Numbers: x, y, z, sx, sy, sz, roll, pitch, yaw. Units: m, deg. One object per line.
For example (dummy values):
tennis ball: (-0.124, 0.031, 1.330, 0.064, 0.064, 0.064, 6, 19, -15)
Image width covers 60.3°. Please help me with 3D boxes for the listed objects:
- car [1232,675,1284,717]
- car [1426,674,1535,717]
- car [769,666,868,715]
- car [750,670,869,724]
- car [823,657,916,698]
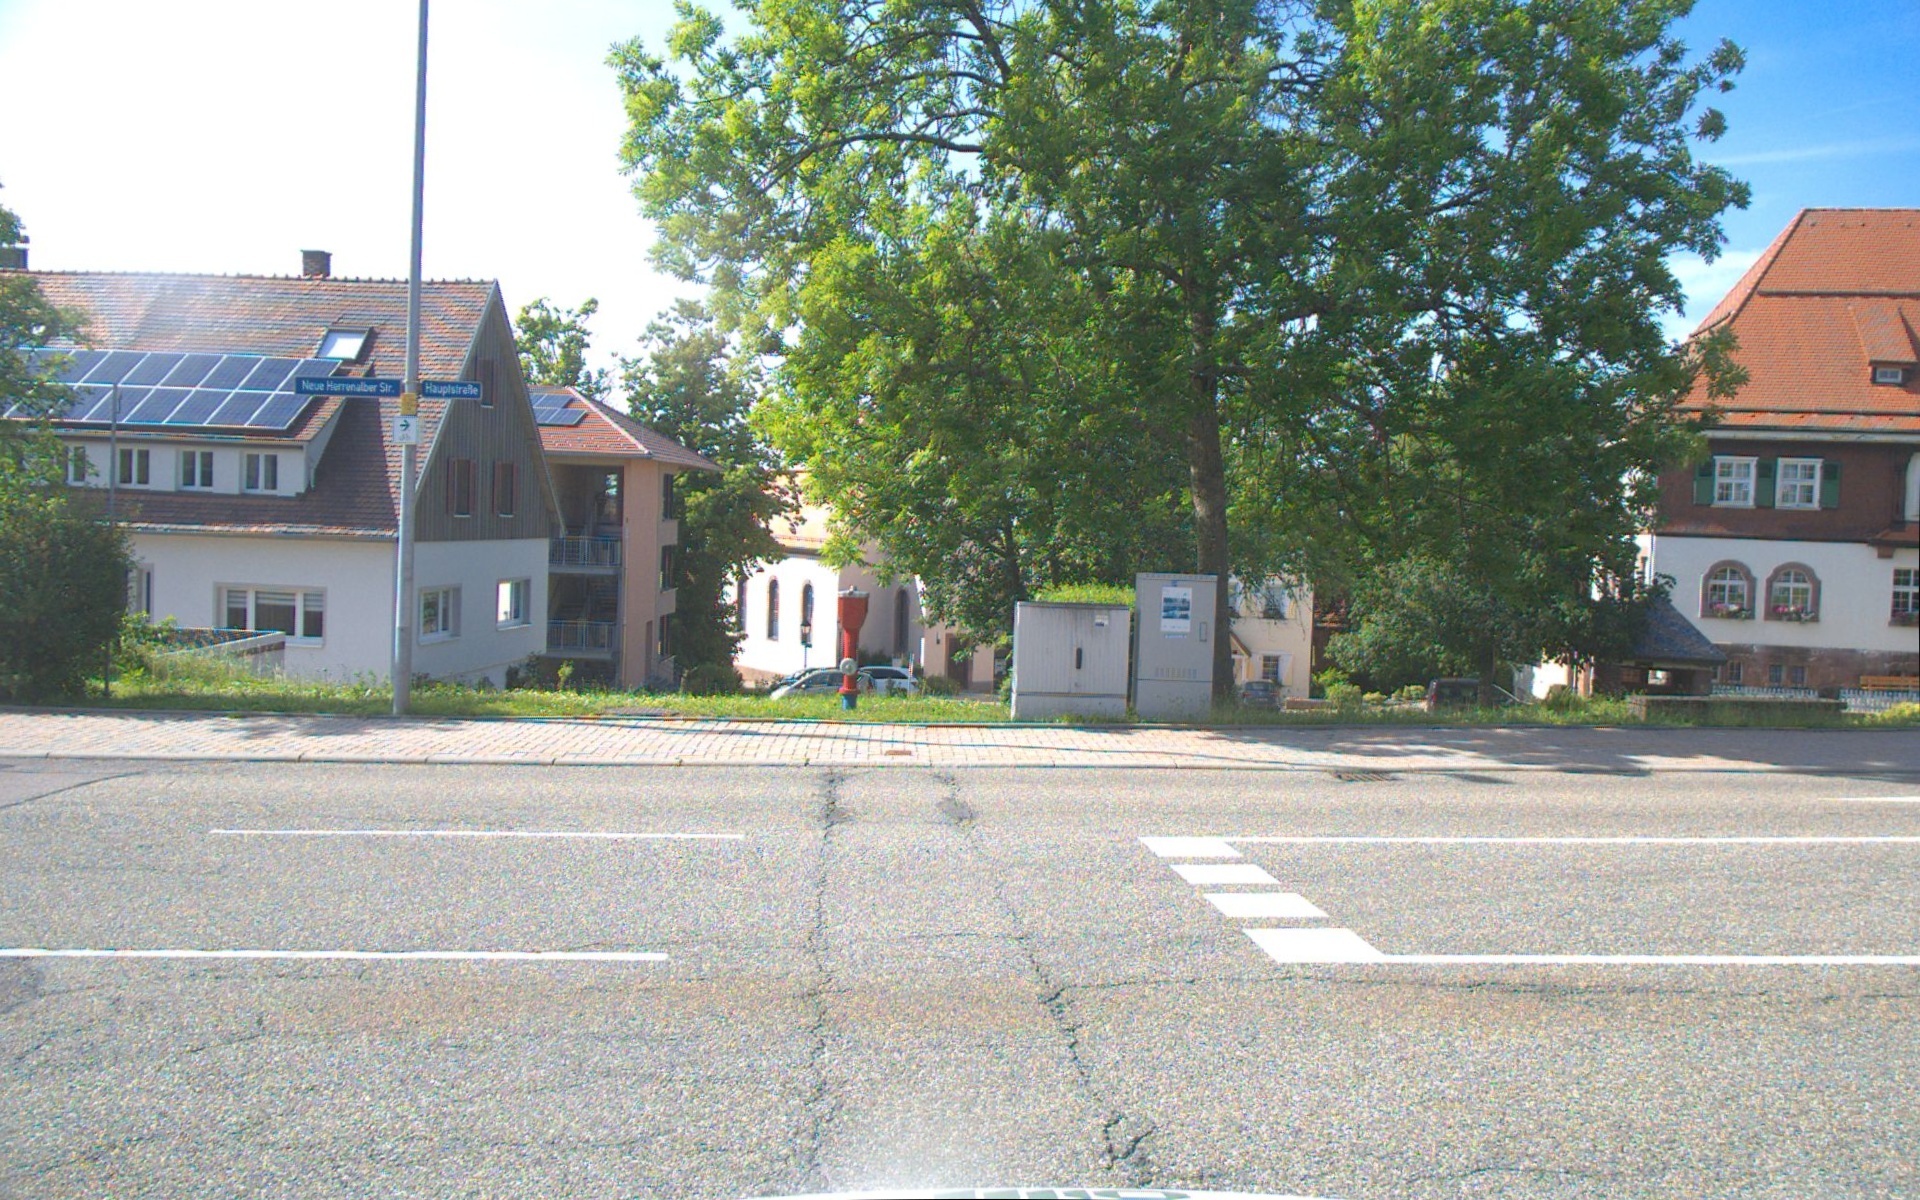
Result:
car: (12.193, 3.921, 67.820, 1.672, 1.569, 3.786, 0, -1, 3)
car: (19.333, 3.552, 61.536, 3.692, 1.470, 1.715, 0, -1, 11)
car: (-5.404, 3.440, 63.064, 3.701, 1.789, 1.711, 1, -1, -7)
car: (-5.204, 3.356, 57.216, 4.011, 1.789, 1.711, 1, -1, -6)
car: (-3.741, 3.186, 68.123, 3.701, 1.621, 1.711, 1, -1, -7)
